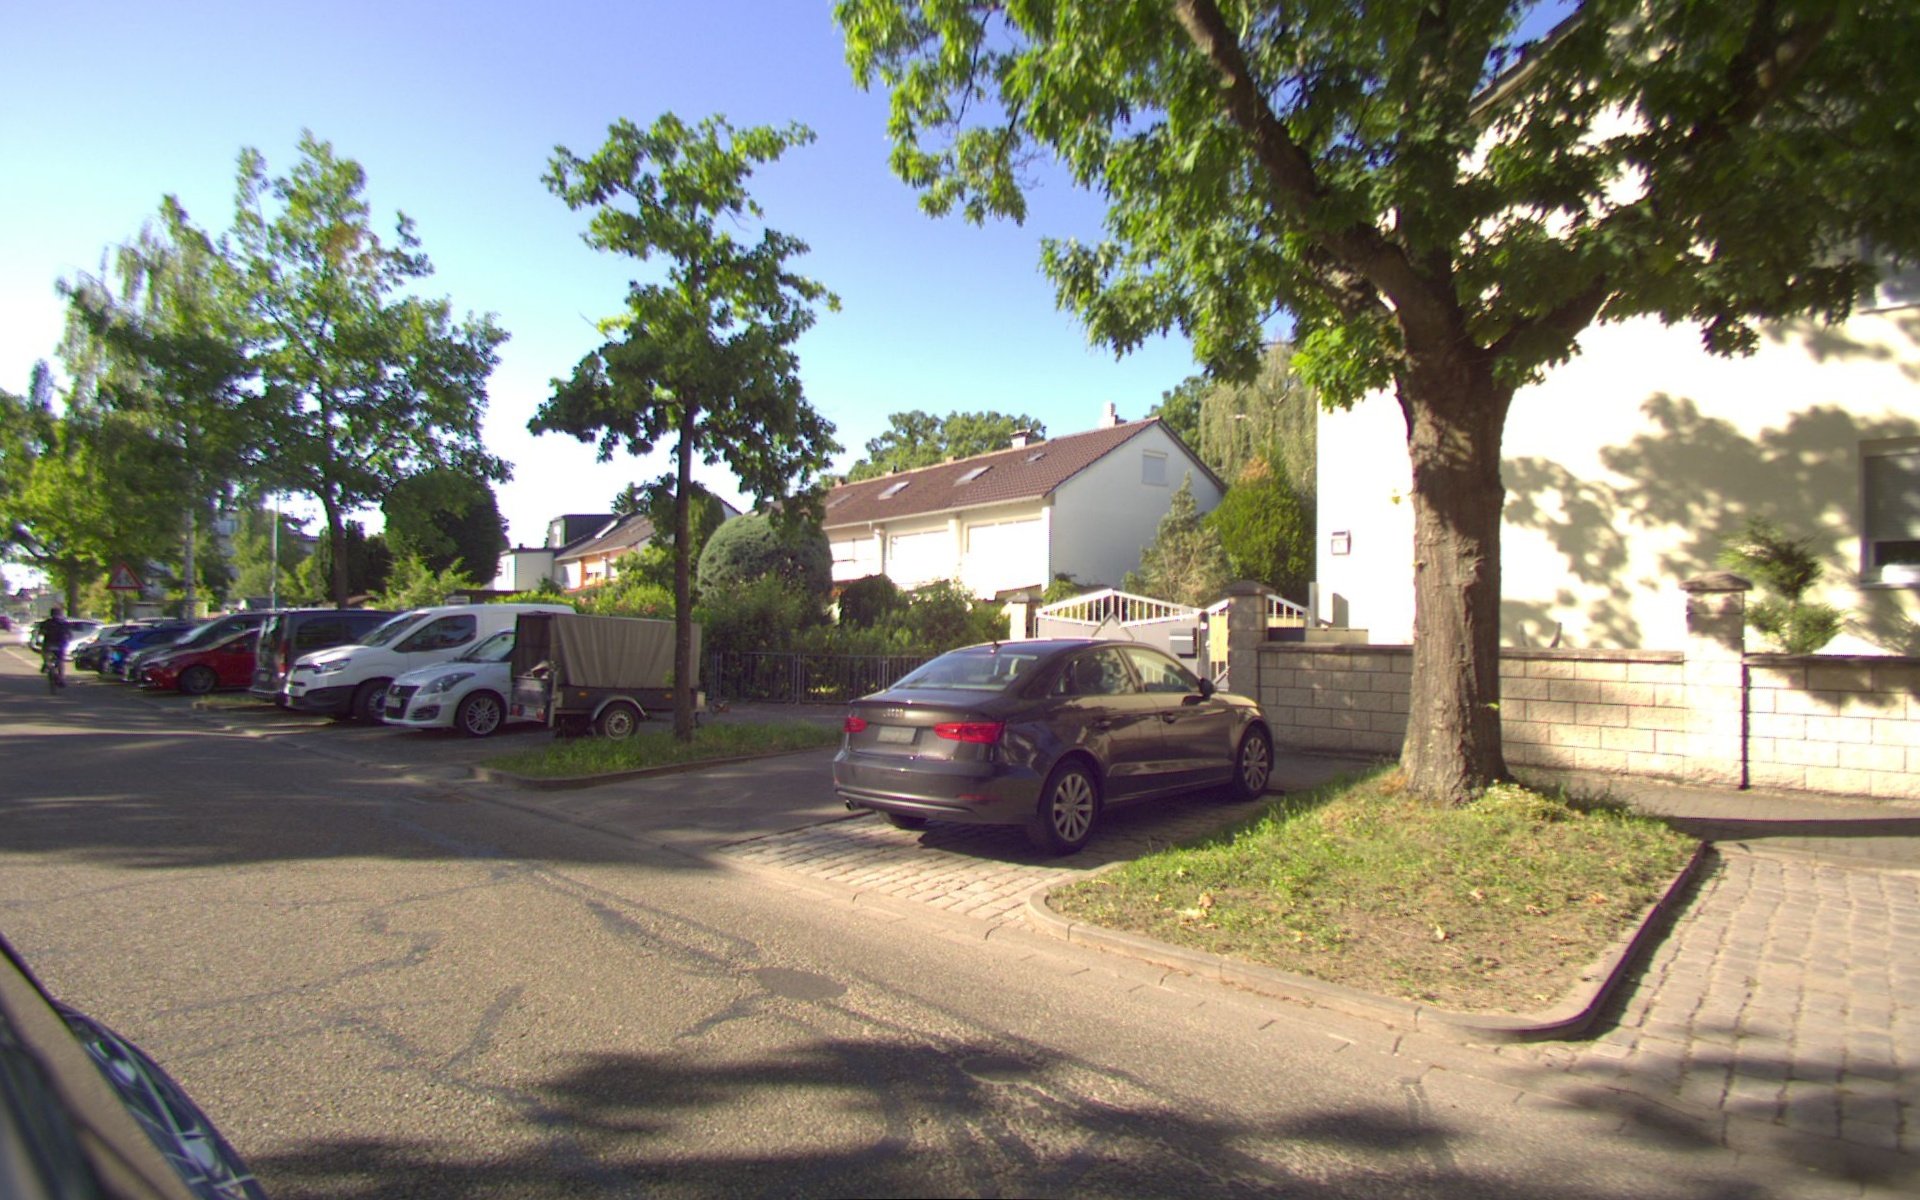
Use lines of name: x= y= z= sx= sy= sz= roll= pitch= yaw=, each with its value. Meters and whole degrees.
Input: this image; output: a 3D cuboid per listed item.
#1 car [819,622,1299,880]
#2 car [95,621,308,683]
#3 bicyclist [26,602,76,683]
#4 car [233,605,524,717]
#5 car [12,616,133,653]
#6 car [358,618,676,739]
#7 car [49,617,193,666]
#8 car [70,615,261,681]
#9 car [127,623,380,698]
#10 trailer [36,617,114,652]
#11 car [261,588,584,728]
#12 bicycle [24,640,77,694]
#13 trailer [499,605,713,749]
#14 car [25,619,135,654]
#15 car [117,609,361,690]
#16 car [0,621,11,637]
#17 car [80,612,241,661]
car: x=1.025 y=0.945 z=7.974 sx=1.690 sy=1.483 sz=4.166 roll=-1 pitch=-3 yaw=41
car: x=-19.771 y=1.301 z=26.513 sx=1.723 sy=1.435 sz=4.226 roll=-1 pitch=-1 yaw=42
bicyclist: x=-19.403 y=0.913 z=21.607 sx=0.975 sy=1.687 sz=0.589 roll=-1 pitch=-5 yaw=43
car: x=-10.467 y=1.005 z=18.466 sx=1.965 sy=1.783 sz=4.197 roll=-1 pitch=-1 yaw=39
car: x=-41.119 y=1.547 z=46.955 sx=1.919 sy=1.586 sz=3.917 roll=0 pitch=0 yaw=36
car: x=-6.355 y=1.064 z=14.892 sx=1.688 sy=1.528 sz=3.948 roll=-1 pitch=-2 yaw=38
car: x=-30.457 y=1.468 z=36.824 sx=1.707 sy=1.626 sz=3.894 roll=-2 pitch=-1 yaw=44
car: x=-23.130 y=1.337 z=29.569 sx=1.760 sy=1.737 sz=4.165 roll=-1 pitch=-1 yaw=42
car: x=-15.889 y=1.288 z=22.937 sx=1.837 sy=1.511 sz=4.426 roll=-1 pitch=-2 yaw=44
trailer: x=-44.286 y=1.695 z=50.662 sx=1.298 sy=1.660 sz=2.732 roll=1 pitch=0 yaw=39
car: x=-8.587 y=0.876 z=16.464 sx=1.998 sy=1.959 sz=4.195 roll=-1 pitch=-2 yaw=39
bicycle: x=-19.339 y=1.409 z=21.498 sx=1.986 sy=1.066 sz=0.590 roll=-1 pitch=-5 yaw=43
trailer: x=-4.595 y=0.948 z=13.210 sx=2.210 sy=1.686 sz=1.475 roll=2 pitch=-3 yaw=-45
car: x=-39.293 y=1.629 z=45.221 sx=1.707 sy=1.507 sz=3.477 roll=-2 pitch=-3 yaw=41
car: x=-17.570 y=1.136 z=24.855 sx=1.794 sy=1.782 sz=4.624 roll=-2 pitch=-1 yaw=41
car: x=-89.937 y=2.701 z=94.511 sx=1.740 sy=1.489 sz=3.853 roll=3 pitch=-4 yaw=-44
car: x=-26.479 y=1.197 z=33.599 sx=1.796 sy=1.526 sz=3.956 roll=-1 pitch=-3 yaw=44
